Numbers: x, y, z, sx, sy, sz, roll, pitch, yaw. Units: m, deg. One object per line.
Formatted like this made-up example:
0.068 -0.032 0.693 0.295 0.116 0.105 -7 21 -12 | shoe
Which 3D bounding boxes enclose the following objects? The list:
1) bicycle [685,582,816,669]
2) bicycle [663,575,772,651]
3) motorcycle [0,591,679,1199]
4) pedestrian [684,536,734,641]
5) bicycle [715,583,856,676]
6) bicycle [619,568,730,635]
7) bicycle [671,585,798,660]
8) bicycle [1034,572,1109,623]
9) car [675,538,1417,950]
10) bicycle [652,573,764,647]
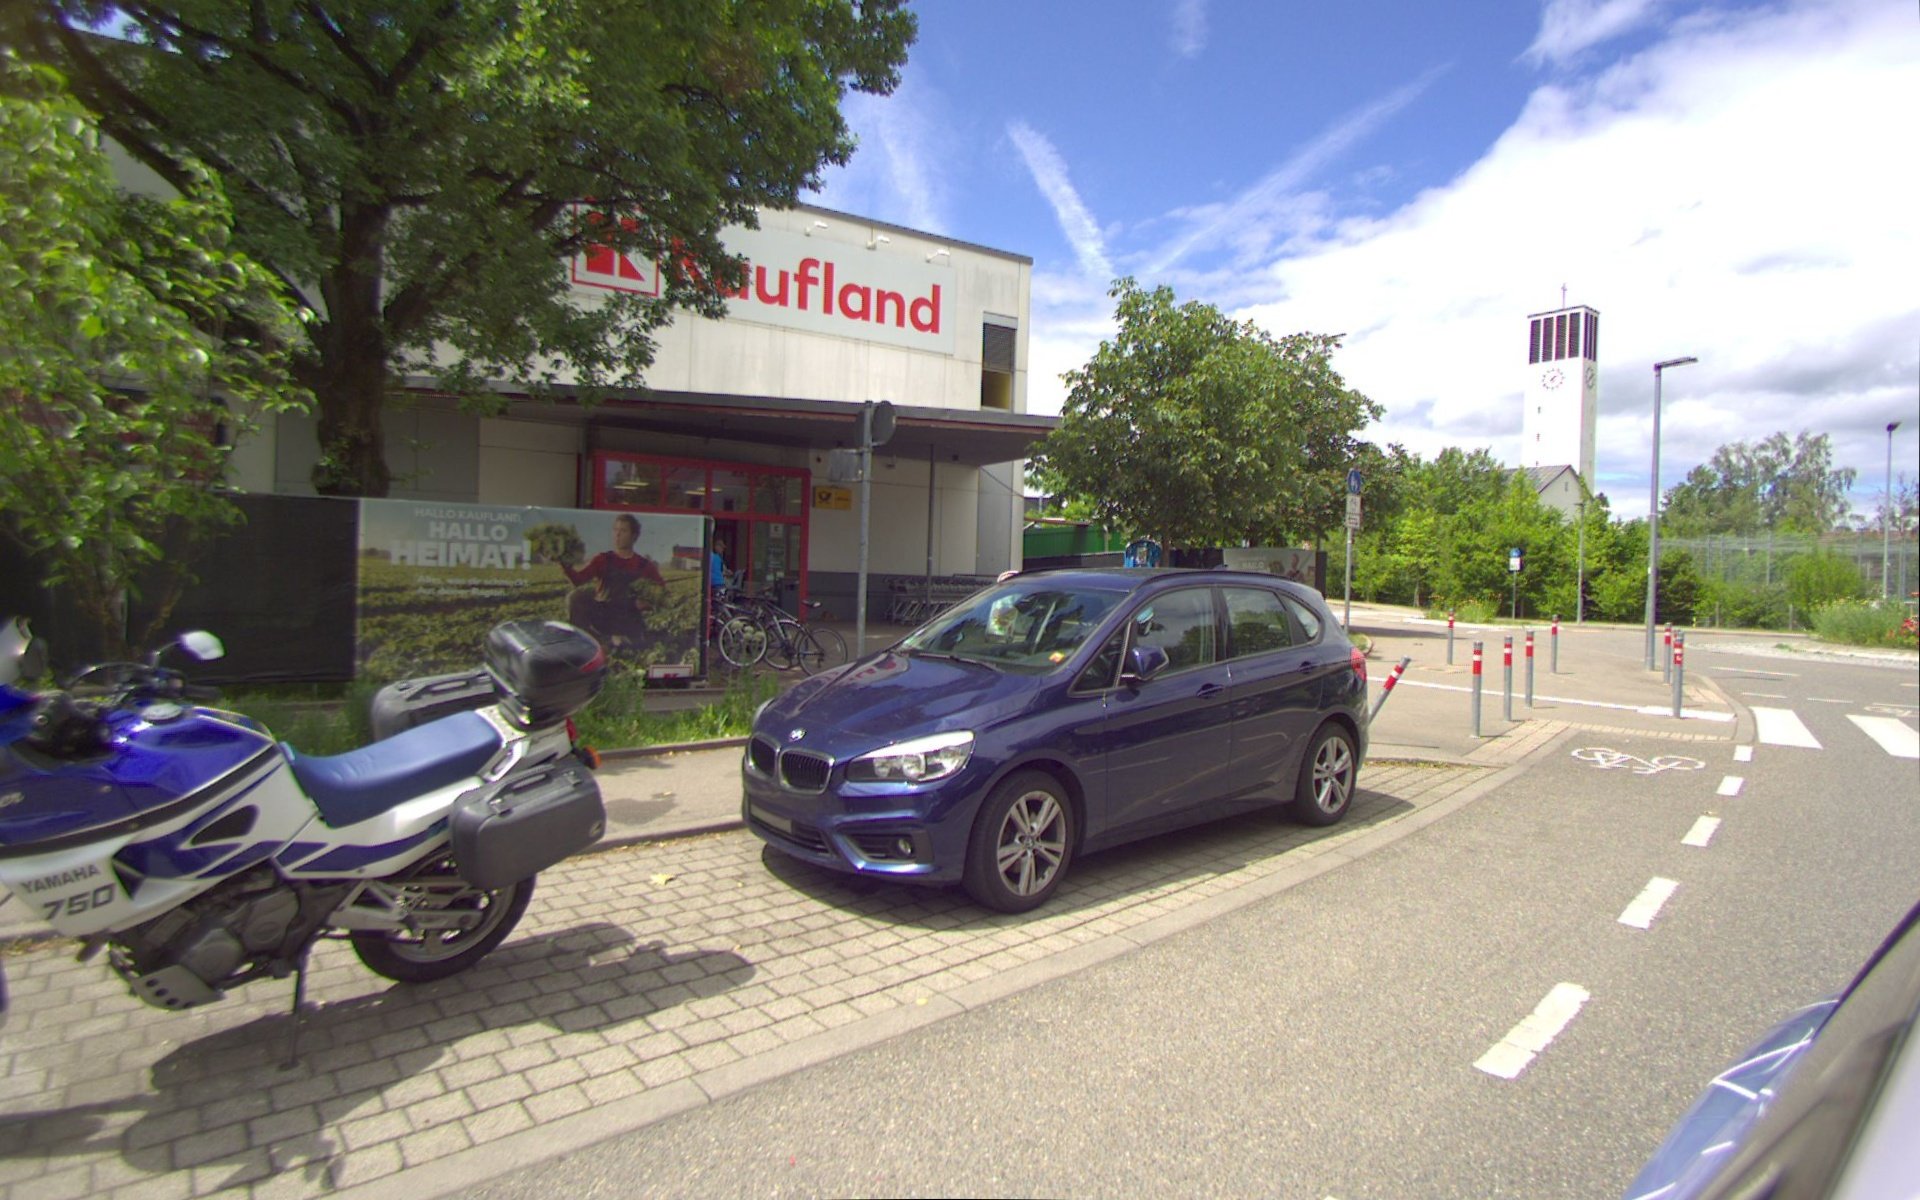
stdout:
-2.897 0.343 14.022 1.735 1.170 0.502 0 0 -14 | bicycle
-3.860 0.191 16.131 1.628 1.170 0.426 0 1 -28 | bicycle
-2.107 0.671 2.947 2.220 1.321 1.074 0 4 -40 | motorcycle
-4.397 -0.213 17.721 0.732 1.778 0.626 1 3 -24 | pedestrian
-2.281 0.369 13.247 1.753 1.170 0.452 0 0 -18 | bicycle
-5.174 0.029 18.352 1.874 1.170 0.531 0 1 -25 | bicycle
-3.336 0.317 15.068 1.767 1.053 0.521 0 2 -35 | bicycle
2.810 -0.078 25.590 1.756 1.249 0.708 1 1 27 | bicycle
0.754 0.507 6.089 4.352 1.597 1.921 0 3 -40 | car
-4.157 0.155 16.743 1.732 1.170 0.440 0 1 -30 | bicycle
